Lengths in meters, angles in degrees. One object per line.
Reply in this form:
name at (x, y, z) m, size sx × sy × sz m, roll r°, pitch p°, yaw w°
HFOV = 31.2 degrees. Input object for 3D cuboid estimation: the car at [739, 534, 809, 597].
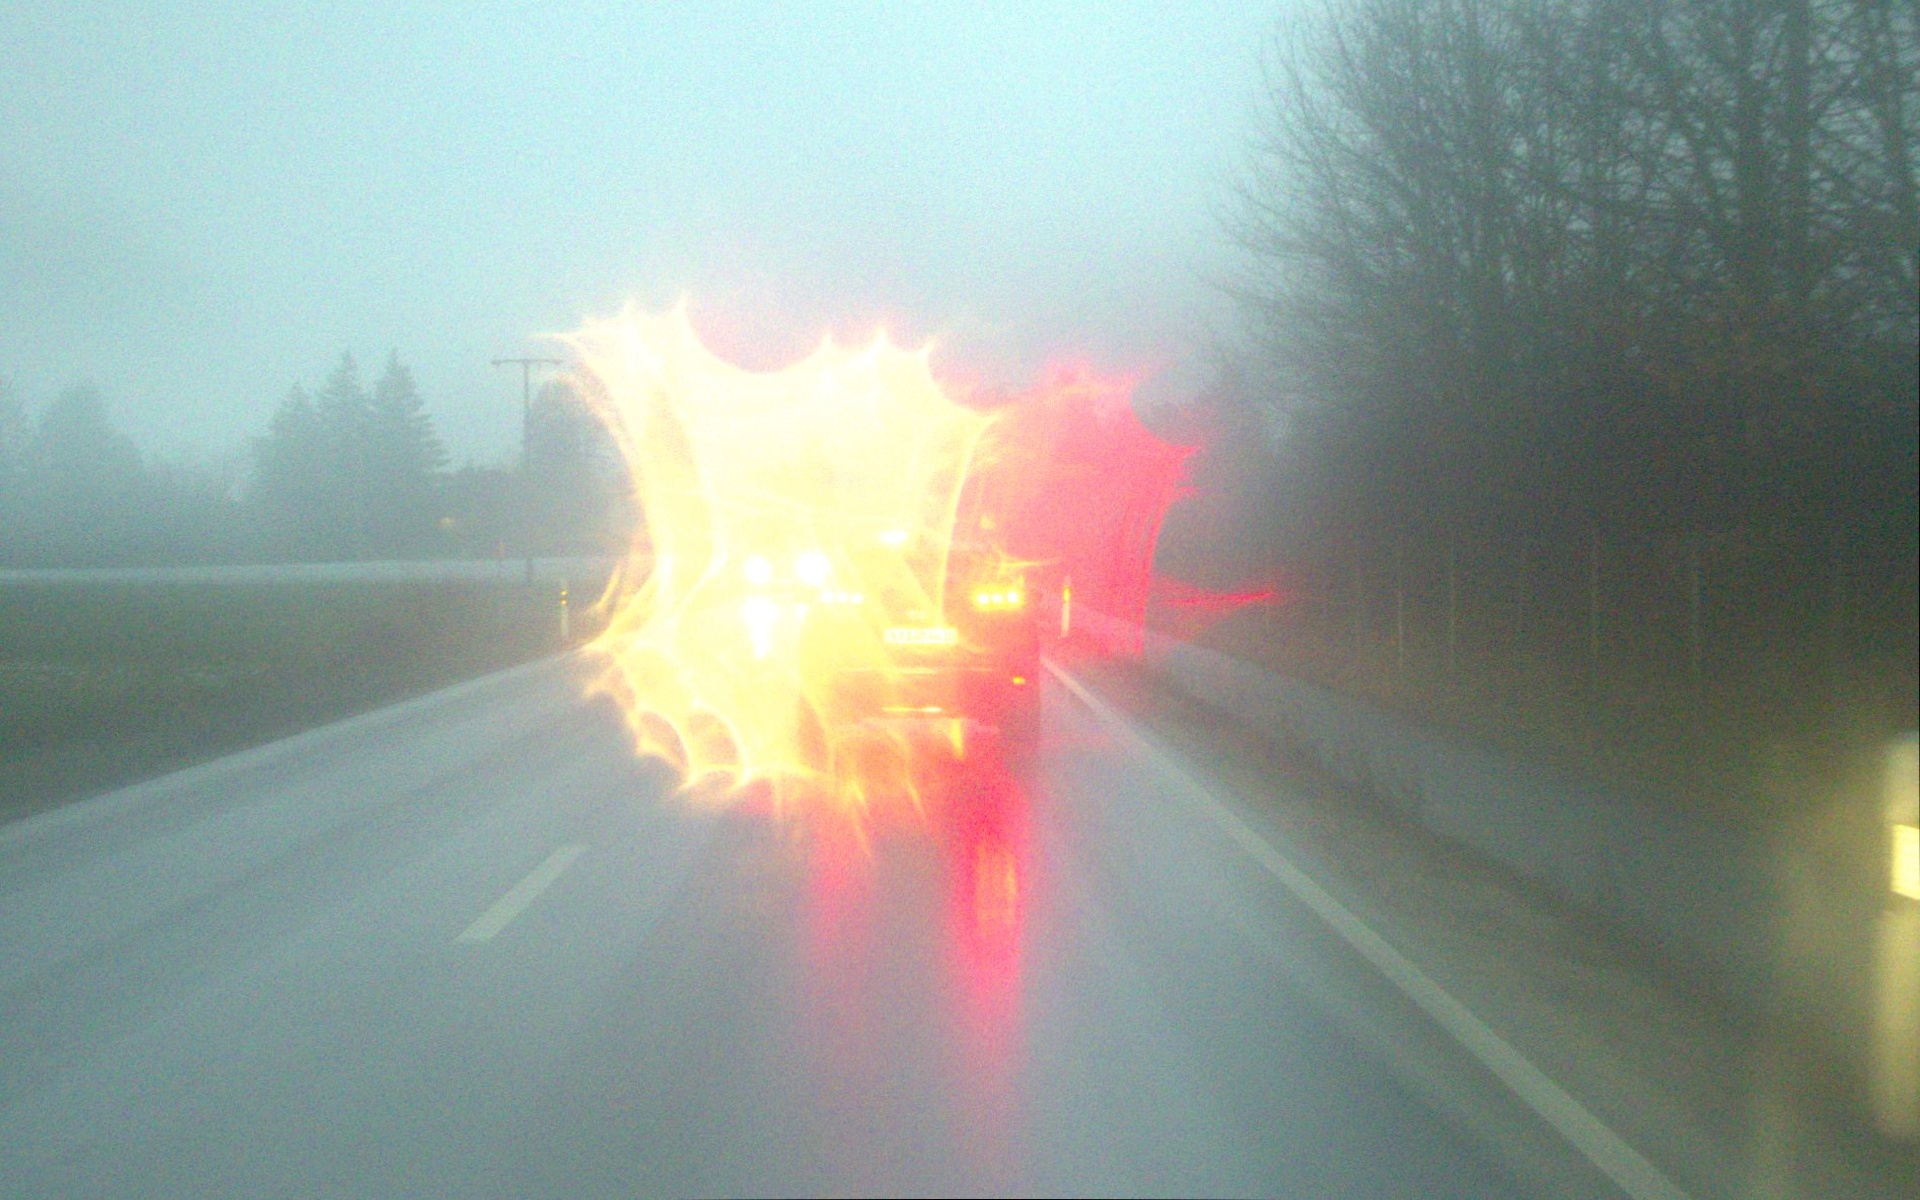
car at (-5.279, -0.990, 98.019) m, size 1.839 × 1.715 × 3.956 m, roll 1°, pitch 1°, yaw -1°

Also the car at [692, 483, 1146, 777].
car at (-0.302, 0.137, 27.588) m, size 3.164 × 2.028 × 6.852 m, roll -1°, pitch 1°, yaw 0°
